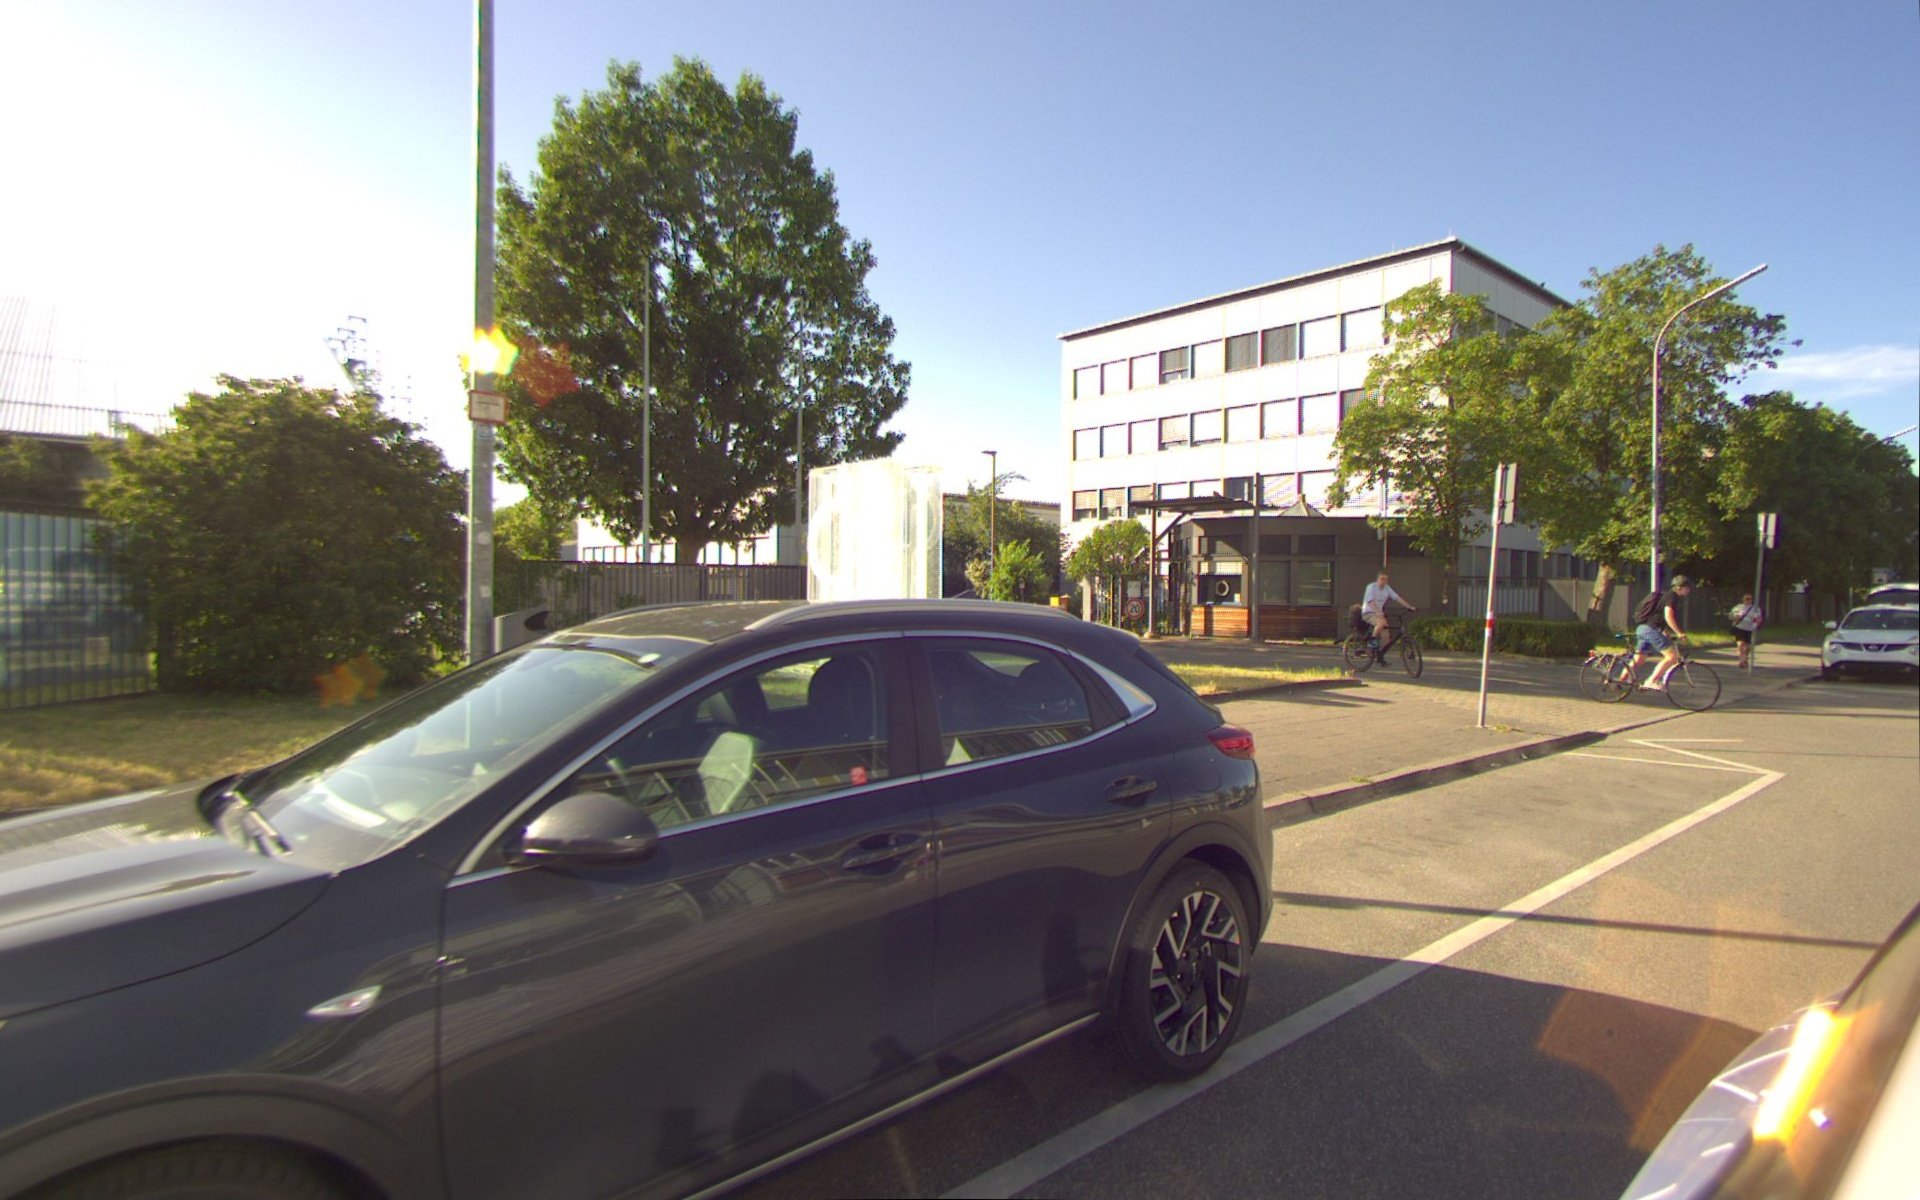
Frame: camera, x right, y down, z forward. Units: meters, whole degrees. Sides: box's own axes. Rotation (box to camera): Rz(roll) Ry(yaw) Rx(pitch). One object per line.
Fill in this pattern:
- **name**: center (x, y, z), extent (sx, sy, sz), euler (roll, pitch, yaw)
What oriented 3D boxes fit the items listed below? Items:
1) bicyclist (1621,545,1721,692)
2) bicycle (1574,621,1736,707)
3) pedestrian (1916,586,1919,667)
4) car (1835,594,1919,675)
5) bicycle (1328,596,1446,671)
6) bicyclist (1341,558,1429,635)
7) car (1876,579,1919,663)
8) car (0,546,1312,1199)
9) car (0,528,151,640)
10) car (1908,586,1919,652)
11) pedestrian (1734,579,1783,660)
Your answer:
- **bicyclist**: center (10.383, 0.246, 14.823), extent (1.045, 2.038, 0.949), euler (3, 1, 32)
- **bicycle**: center (10.174, 0.906, 14.885), extent (1.874, 1.020, 0.692), euler (5, 4, 35)
- **pedestrian**: center (21.424, 0.570, 22.065), extent (0.690, 1.768, 0.591), euler (0, -1, -23)
- **car**: center (19.363, 0.654, 20.667), extent (4.041, 1.533, 1.667), euler (0, -1, -41)
- **bicycle**: center (7.362, 0.553, 17.541), extent (0.654, 1.157, 1.906), euler (1, 2, -25)
- **bicyclist**: center (7.352, -0.061, 17.536), extent (0.844, 1.284, 1.102), euler (1, 0, -25)
- **car**: center (23.661, 0.471, 24.519), extent (4.939, 1.893, 1.865), euler (0, -1, -44)
- **car**: center (-0.877, 0.689, 2.763), extent (4.143, 1.506, 1.703), euler (0, -1, -42)
- **car**: center (-15.654, -0.290, 17.580), extent (4.630, 1.689, 1.968), euler (2, 1, 45)
- **car**: center (28.422, 0.516, 28.783), extent (4.220, 1.817, 1.704), euler (0, -1, -41)
- **pedestrian**: center (17.966, 0.422, 22.777), extent (0.762, 1.750, 0.692), euler (0, 2, -42)
